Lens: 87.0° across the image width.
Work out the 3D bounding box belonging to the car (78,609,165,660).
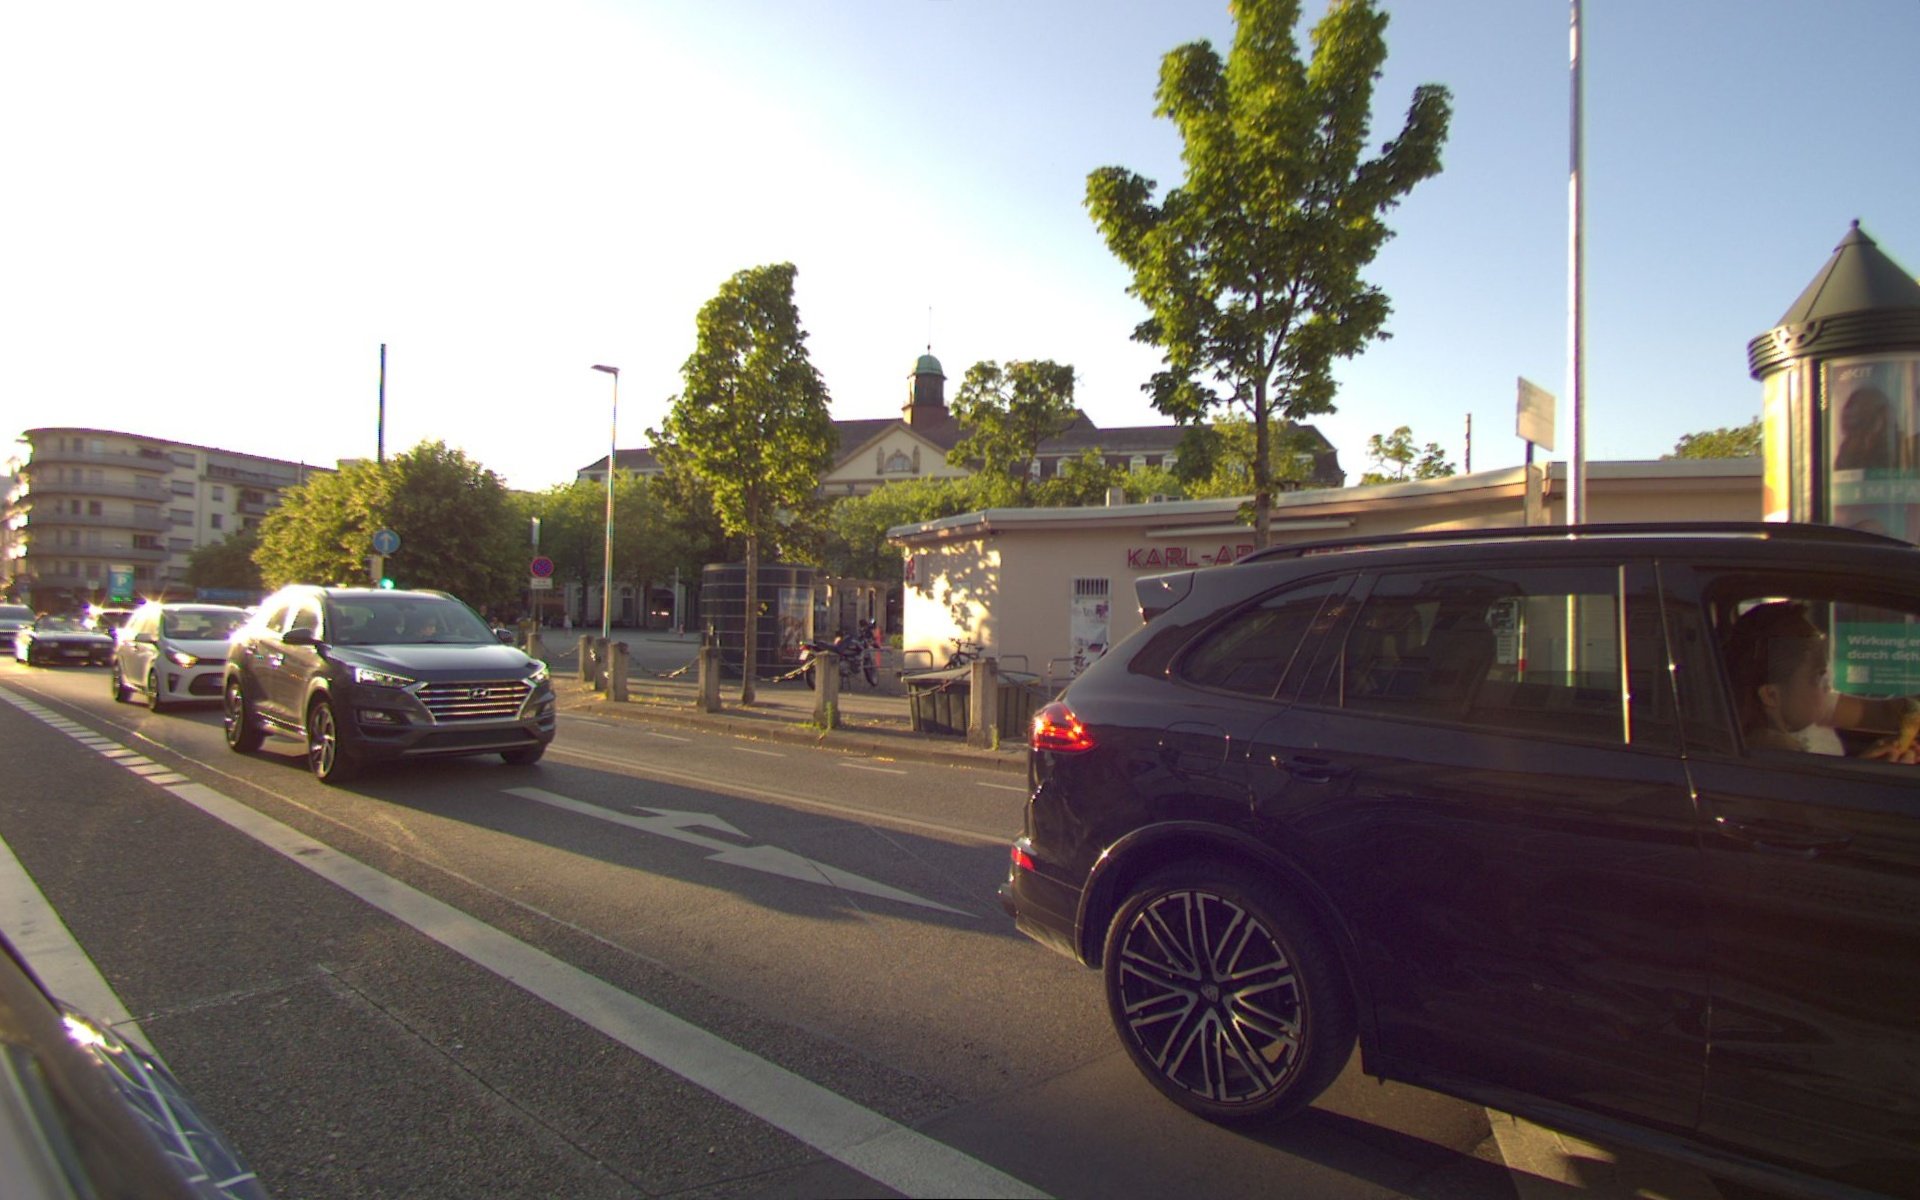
[{"bbox_3d":[-31.054,1.269,37.435,3.984,1.711,1.803,-1,-5,42],"label":"car"}]

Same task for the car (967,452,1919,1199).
[{"bbox_3d":[2.327,0.602,2.569,4.566,1.711,1.782,-1,-2,41],"label":"car"}]

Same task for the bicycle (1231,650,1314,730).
[{"bbox_3d":[4.718,1.324,15.214,0.449,1.122,1.846,0,-2,42],"label":"bicycle"}]

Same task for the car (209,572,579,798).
[{"bbox_3d":[-5.594,0.695,9.764,4.258,1.711,1.803,-1,-3,42],"label":"car"}]

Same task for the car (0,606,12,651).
[{"bbox_3d":[-40.097,1.139,41.232,4.001,1.785,1.854,-1,-3,44],"label":"car"}]

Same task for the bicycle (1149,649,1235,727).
[{"bbox_3d":[3.617,1.334,15.699,0.449,1.122,1.846,0,-2,42],"label":"bicycle"}]

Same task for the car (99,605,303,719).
[{"bbox_3d":[-11.477,0.855,15.217,3.984,1.483,1.696,-1,-3,42],"label":"car"}]

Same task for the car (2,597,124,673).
[{"bbox_3d":[-22.895,0.888,25.781,3.984,1.754,1.803,-1,-4,42],"label":"car"}]

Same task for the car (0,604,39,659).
[{"bbox_3d":[-32.325,1.024,33.842,3.984,1.754,1.803,-1,-4,42],"label":"car"}]

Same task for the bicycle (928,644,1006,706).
[{"bbox_3d":[0.149,1.386,19.062,0.395,1.111,1.787,-1,-3,40],"label":"bicycle"}]

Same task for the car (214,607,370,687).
[{"bbox_3d":[-14.973,1.004,22.623,3.998,1.615,1.856,-1,-2,41],"label":"car"}]

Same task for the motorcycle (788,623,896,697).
[{"bbox_3d":[-2.406,1.228,21.010,0.700,1.457,2.368,-1,-3,40],"label":"motorcycle"}]
